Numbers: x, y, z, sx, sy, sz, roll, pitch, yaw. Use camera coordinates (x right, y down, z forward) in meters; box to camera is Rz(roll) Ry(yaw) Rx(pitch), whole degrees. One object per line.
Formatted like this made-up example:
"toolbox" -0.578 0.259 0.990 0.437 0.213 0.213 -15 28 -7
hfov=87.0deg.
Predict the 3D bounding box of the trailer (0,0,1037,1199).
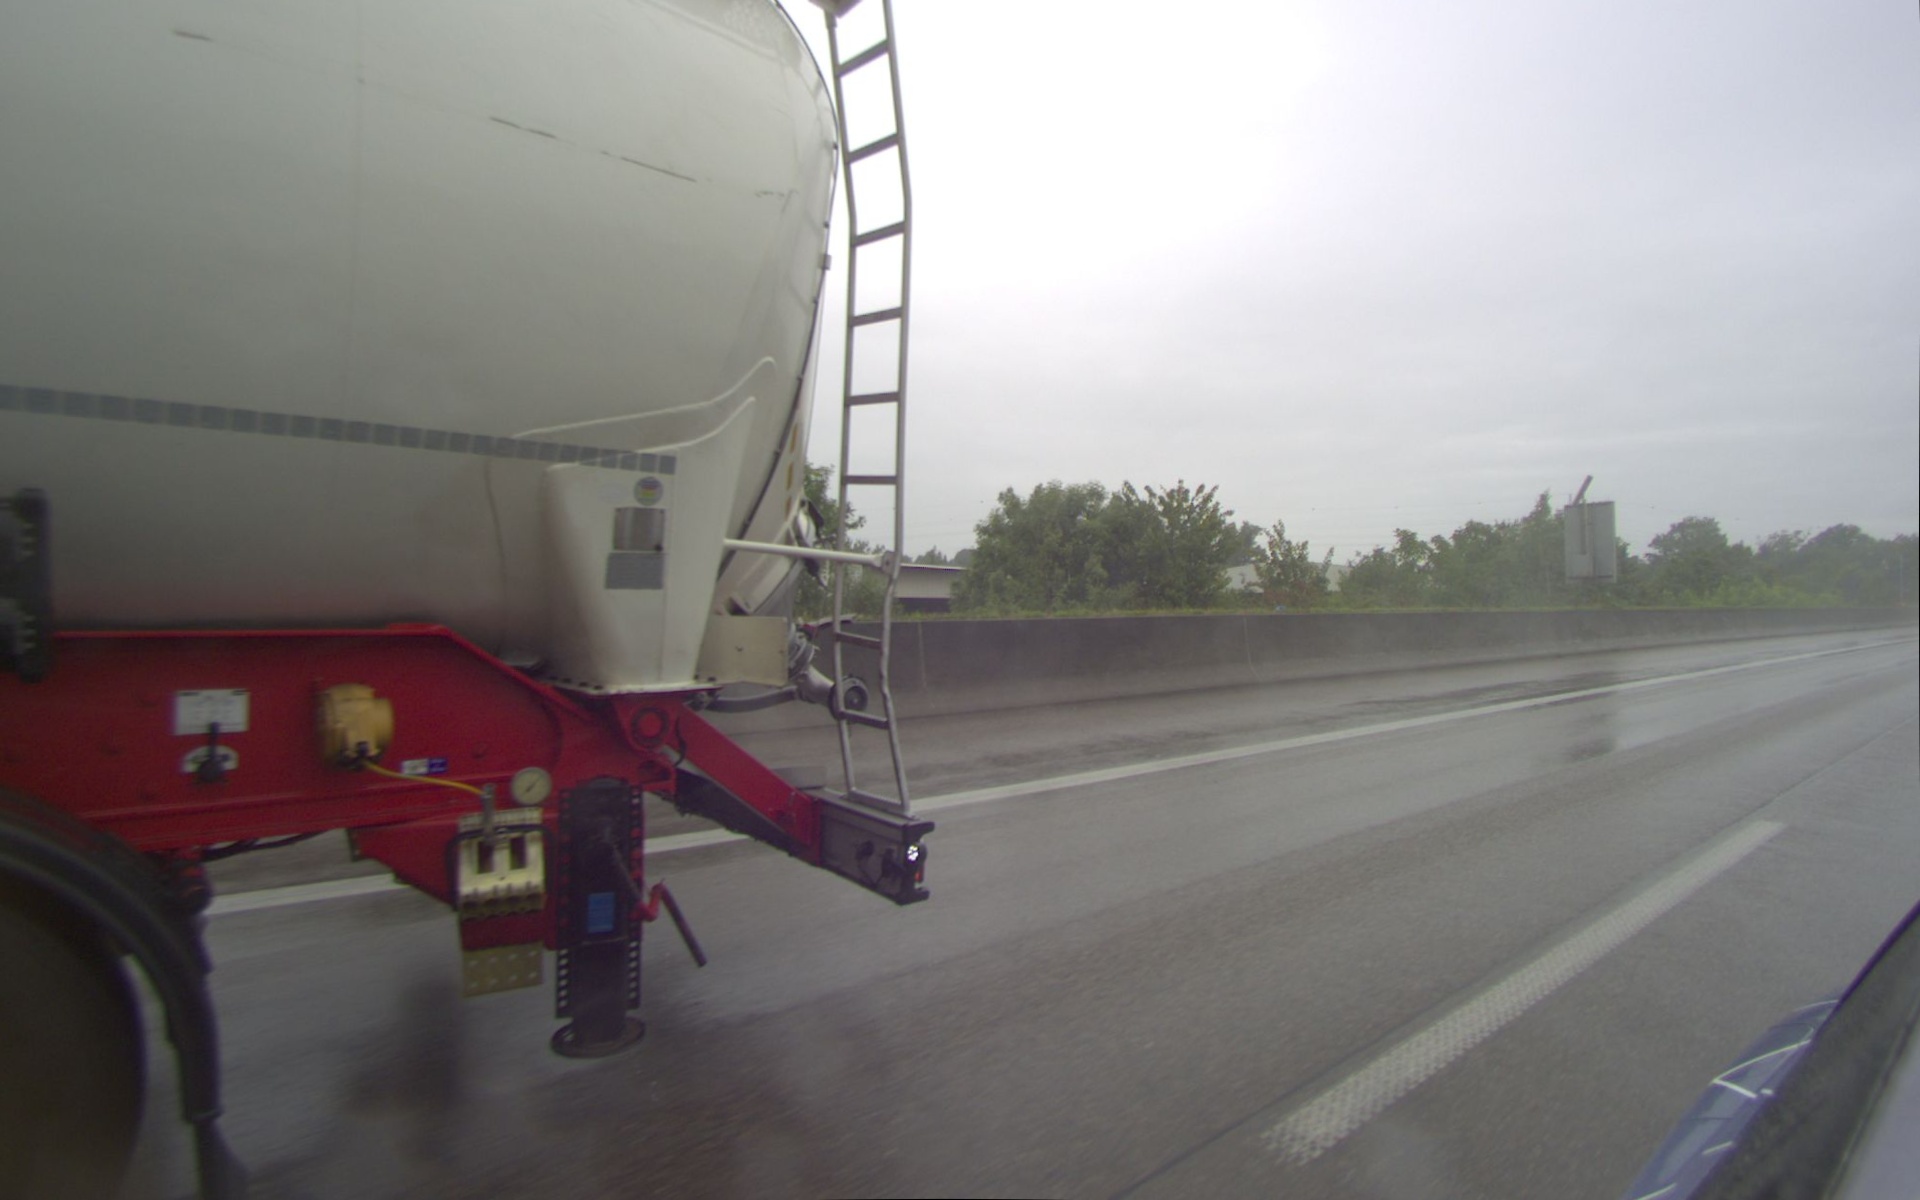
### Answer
"trailer" -5.136 -0.520 0.563 11.460 3.716 3.194 0 0 -41
